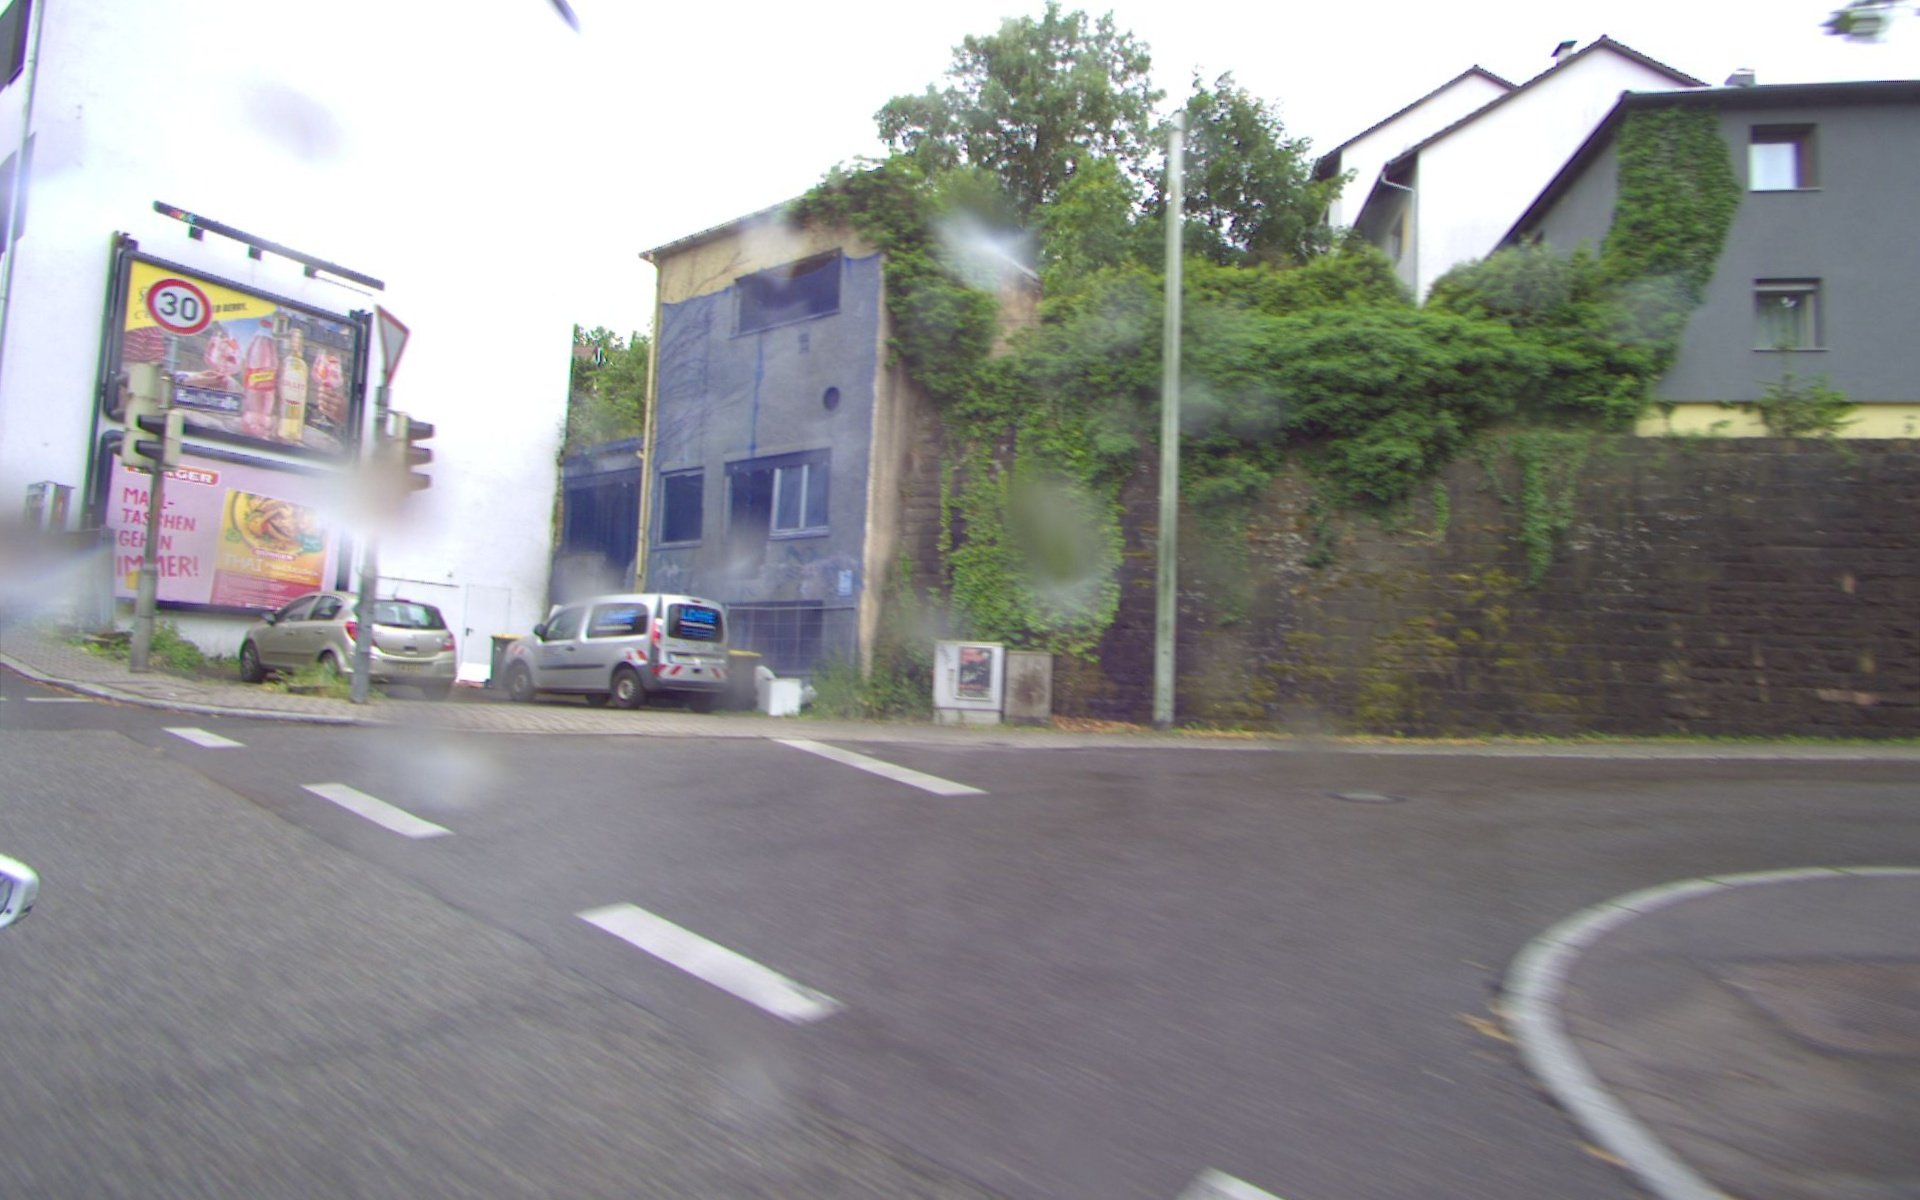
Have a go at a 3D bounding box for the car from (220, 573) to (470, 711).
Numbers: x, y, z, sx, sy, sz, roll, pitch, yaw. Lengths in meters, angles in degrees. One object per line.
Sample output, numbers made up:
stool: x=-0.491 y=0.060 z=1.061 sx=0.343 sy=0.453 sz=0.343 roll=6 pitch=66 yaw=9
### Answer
car: x=-9.301 y=0.604 z=15.134 sx=3.936 sy=1.500 sz=1.565 roll=6 pitch=-3 yaw=34

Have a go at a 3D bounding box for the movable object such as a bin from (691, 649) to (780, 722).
movable object such as a bin: x=-3.968 y=1.512 z=17.802 sx=1.106 sy=1.152 sz=0.942 roll=3 pitch=-5 yaw=36

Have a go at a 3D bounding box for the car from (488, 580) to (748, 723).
car: x=-5.700 y=0.817 z=16.599 sx=4.176 sy=1.933 sz=1.732 roll=3 pitch=-5 yaw=35
